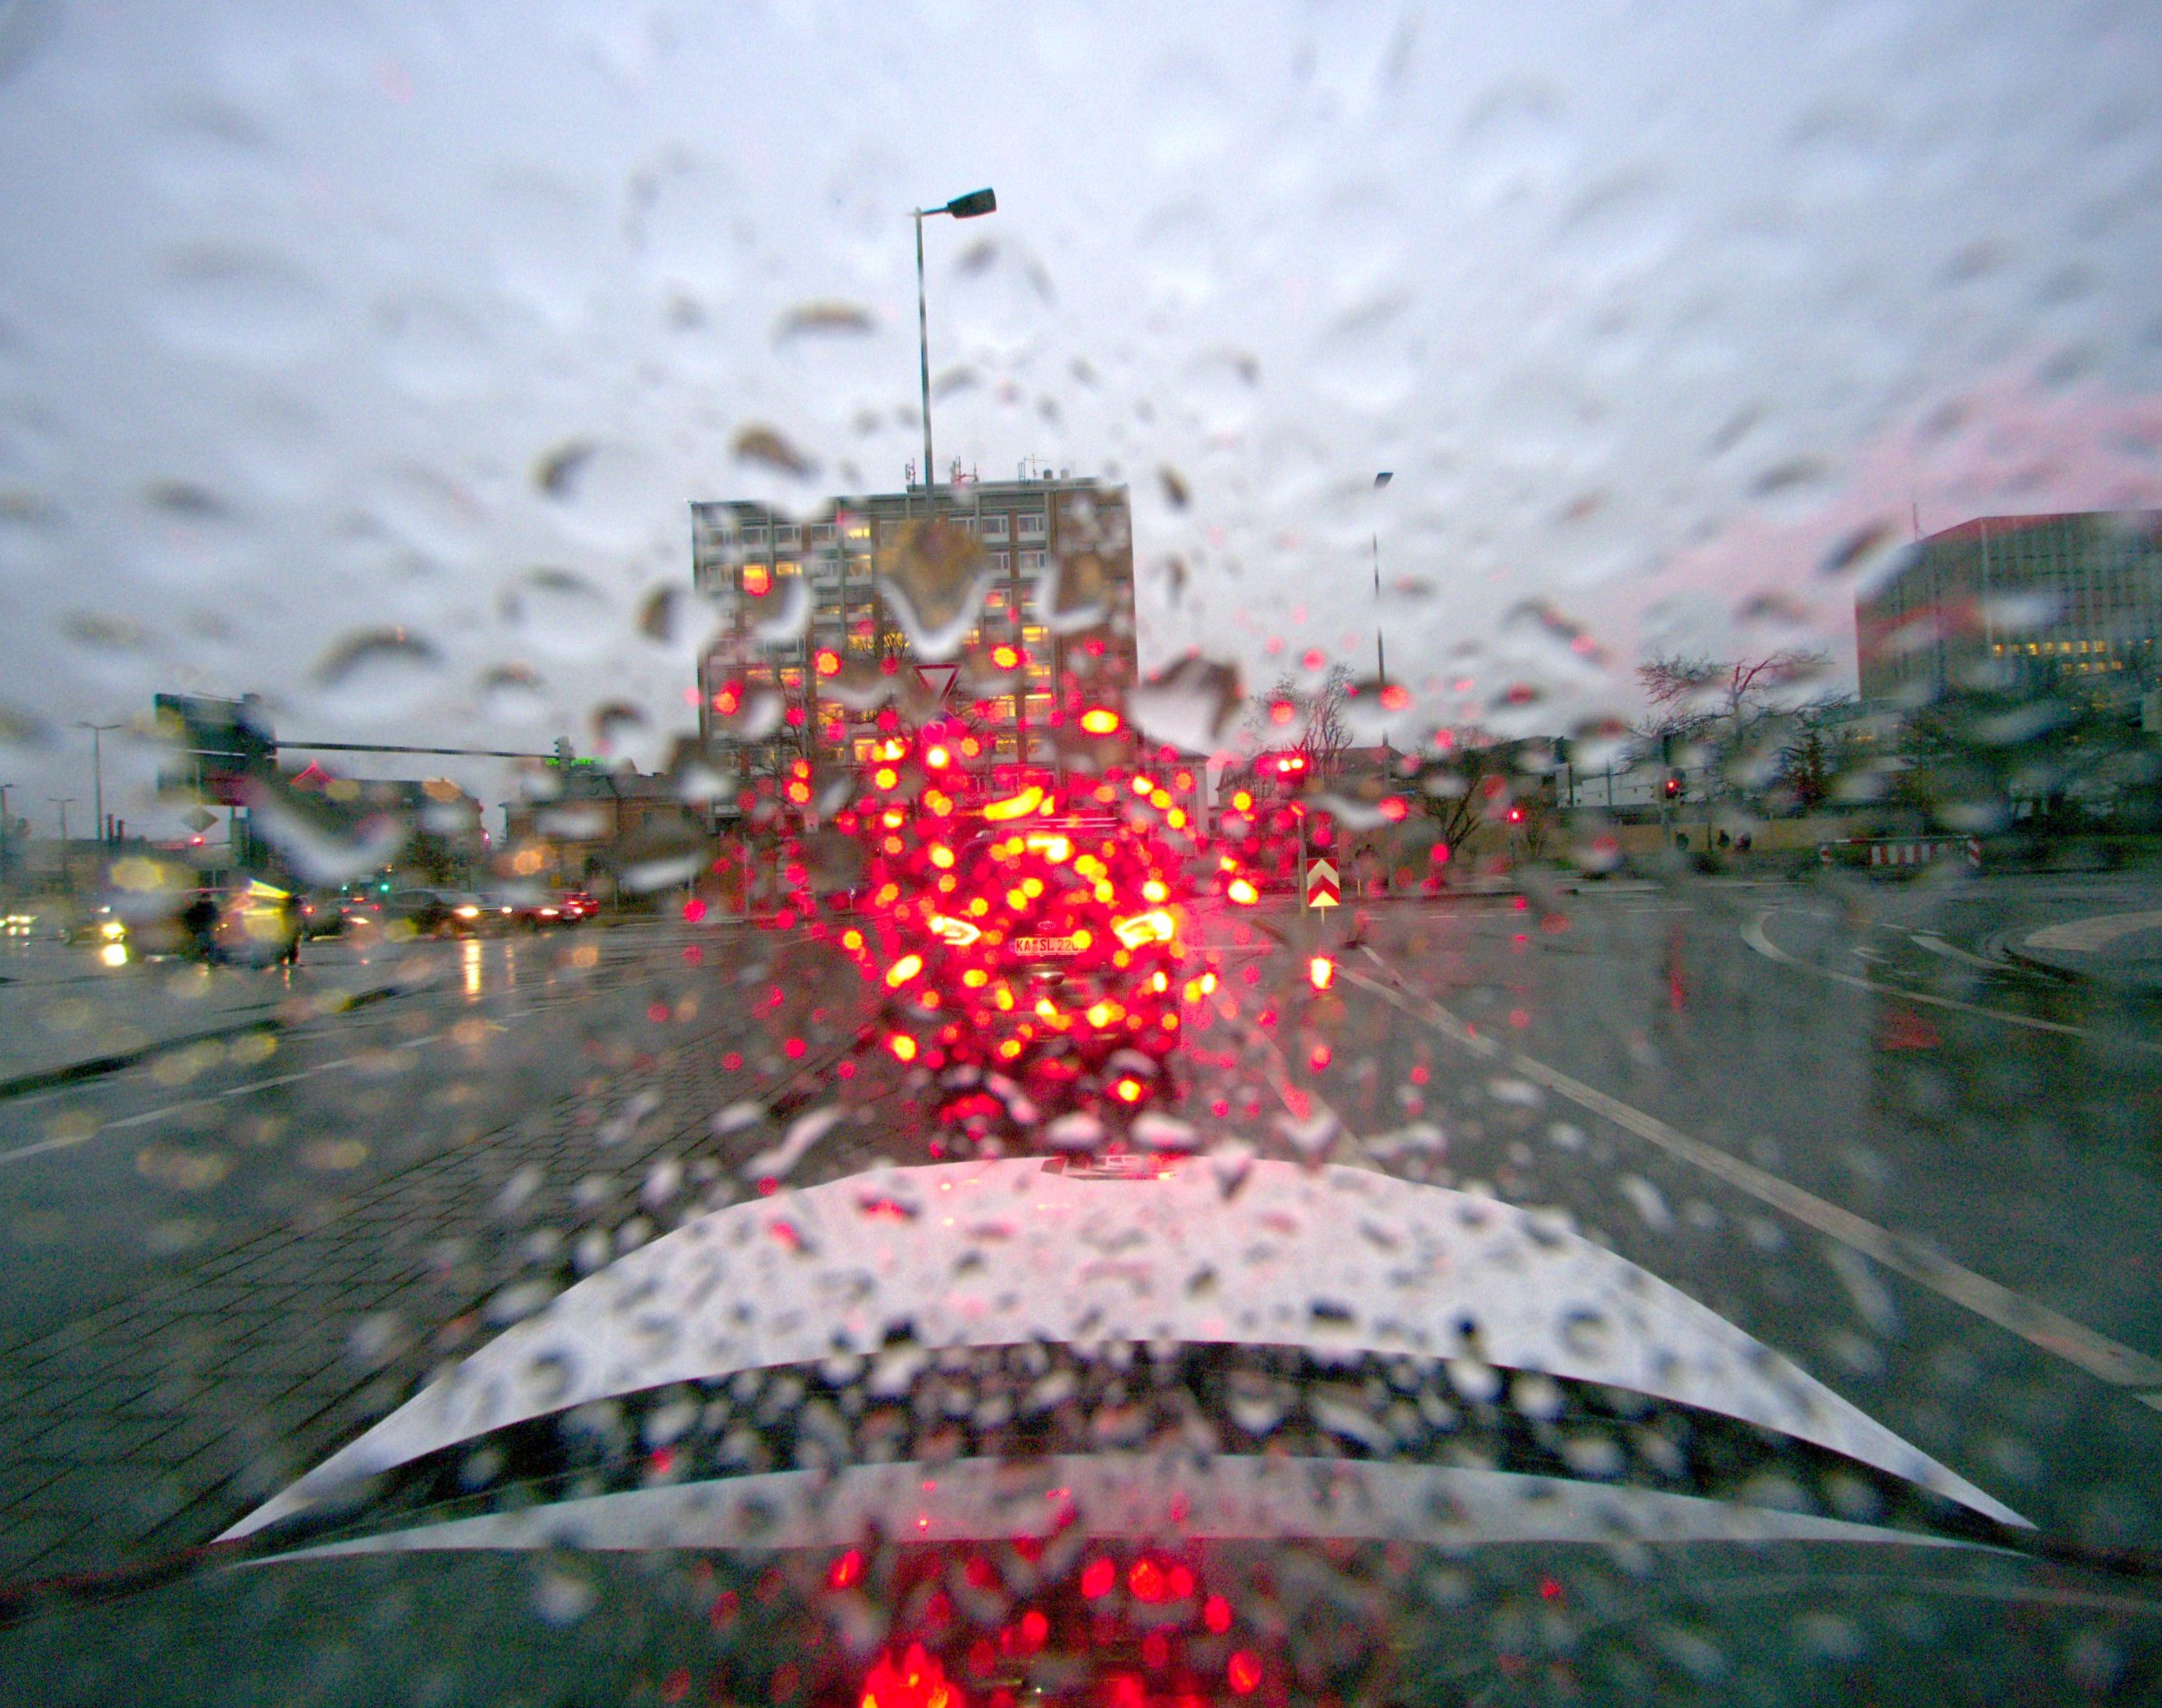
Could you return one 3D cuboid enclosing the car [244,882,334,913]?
[{"bbox_3d":[-52.391,2.852,53.908,5.114,1.913,2.008,-2,-1,17],"label":"car"}]

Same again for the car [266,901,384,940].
[{"bbox_3d":[-30.107,2.645,32.466,3.800,1.449,1.610,-1,-2,14],"label":"car"}]

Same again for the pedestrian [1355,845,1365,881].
[{"bbox_3d":[14.391,0.456,42.070,0.434,1.839,0.462,-2,-2,19],"label":"pedestrian"}]

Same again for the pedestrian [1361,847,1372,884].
[{"bbox_3d":[14.379,0.588,41.041,0.454,1.839,0.441,-2,-2,19],"label":"pedestrian"}]

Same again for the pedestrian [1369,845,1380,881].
[{"bbox_3d":[15.167,0.481,42.083,0.434,1.839,0.462,-2,-2,20],"label":"pedestrian"}]

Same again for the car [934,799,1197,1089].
[{"bbox_3d":[-0.034,0.568,7.176,1.641,1.819,4.002,-1,0,2],"label":"car"}]

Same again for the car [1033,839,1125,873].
[{"bbox_3d":[-0.094,0.153,51.621,5.516,2.024,2.004,-1,-2,7],"label":"car"}]

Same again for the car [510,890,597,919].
[{"bbox_3d":[-26.936,2.586,41.613,3.762,1.398,1.570,-1,-2,14],"label":"car"}]

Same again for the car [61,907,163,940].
[{"bbox_3d":[-45.553,3.259,38.308,3.611,1.447,1.610,-1,-2,14],"label":"car"}]

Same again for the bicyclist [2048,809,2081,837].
[{"bbox_3d":[45.325,-1.429,37.548,0.694,1.246,0.609,-1,-2,10],"label":"bicyclist"}]

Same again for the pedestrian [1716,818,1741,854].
[{"bbox_3d":[31.882,-0.898,40.120,0.620,1.725,0.762,-1,-2,8],"label":"pedestrian"}]

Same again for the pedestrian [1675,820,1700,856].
[{"bbox_3d":[29.924,-0.796,40.180,0.620,1.725,0.762,-1,-2,8],"label":"pedestrian"}]

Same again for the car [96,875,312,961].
[{"bbox_3d":[-25.226,1.800,23.472,4.981,2.282,2.268,-2,-2,18],"label":"car"}]

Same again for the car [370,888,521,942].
[{"bbox_3d":[-21.058,2.007,27.037,4.037,1.684,1.766,-1,-2,13],"label":"car"}]

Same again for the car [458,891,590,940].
[{"bbox_3d":[-20.470,2.238,29.975,4.040,1.684,1.766,-1,-2,14],"label":"car"}]

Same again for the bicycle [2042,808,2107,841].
[{"bbox_3d":[45.740,-1.357,37.494,1.911,1.423,0.594,-1,-2,10],"label":"bicycle"}]

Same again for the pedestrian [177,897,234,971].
[{"bbox_3d":[-20.824,1.894,19.383,0.456,1.697,0.801,-2,-2,25],"label":"pedestrian"}]

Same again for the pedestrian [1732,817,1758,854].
[{"bbox_3d":[31.870,-0.898,39.105,0.620,1.725,0.762,-1,-2,8],"label":"pedestrian"}]

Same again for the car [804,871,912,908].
[{"bbox_3d":[-10.354,1.649,37.907,4.400,1.580,1.975,-1,-2,15],"label":"car"}]
